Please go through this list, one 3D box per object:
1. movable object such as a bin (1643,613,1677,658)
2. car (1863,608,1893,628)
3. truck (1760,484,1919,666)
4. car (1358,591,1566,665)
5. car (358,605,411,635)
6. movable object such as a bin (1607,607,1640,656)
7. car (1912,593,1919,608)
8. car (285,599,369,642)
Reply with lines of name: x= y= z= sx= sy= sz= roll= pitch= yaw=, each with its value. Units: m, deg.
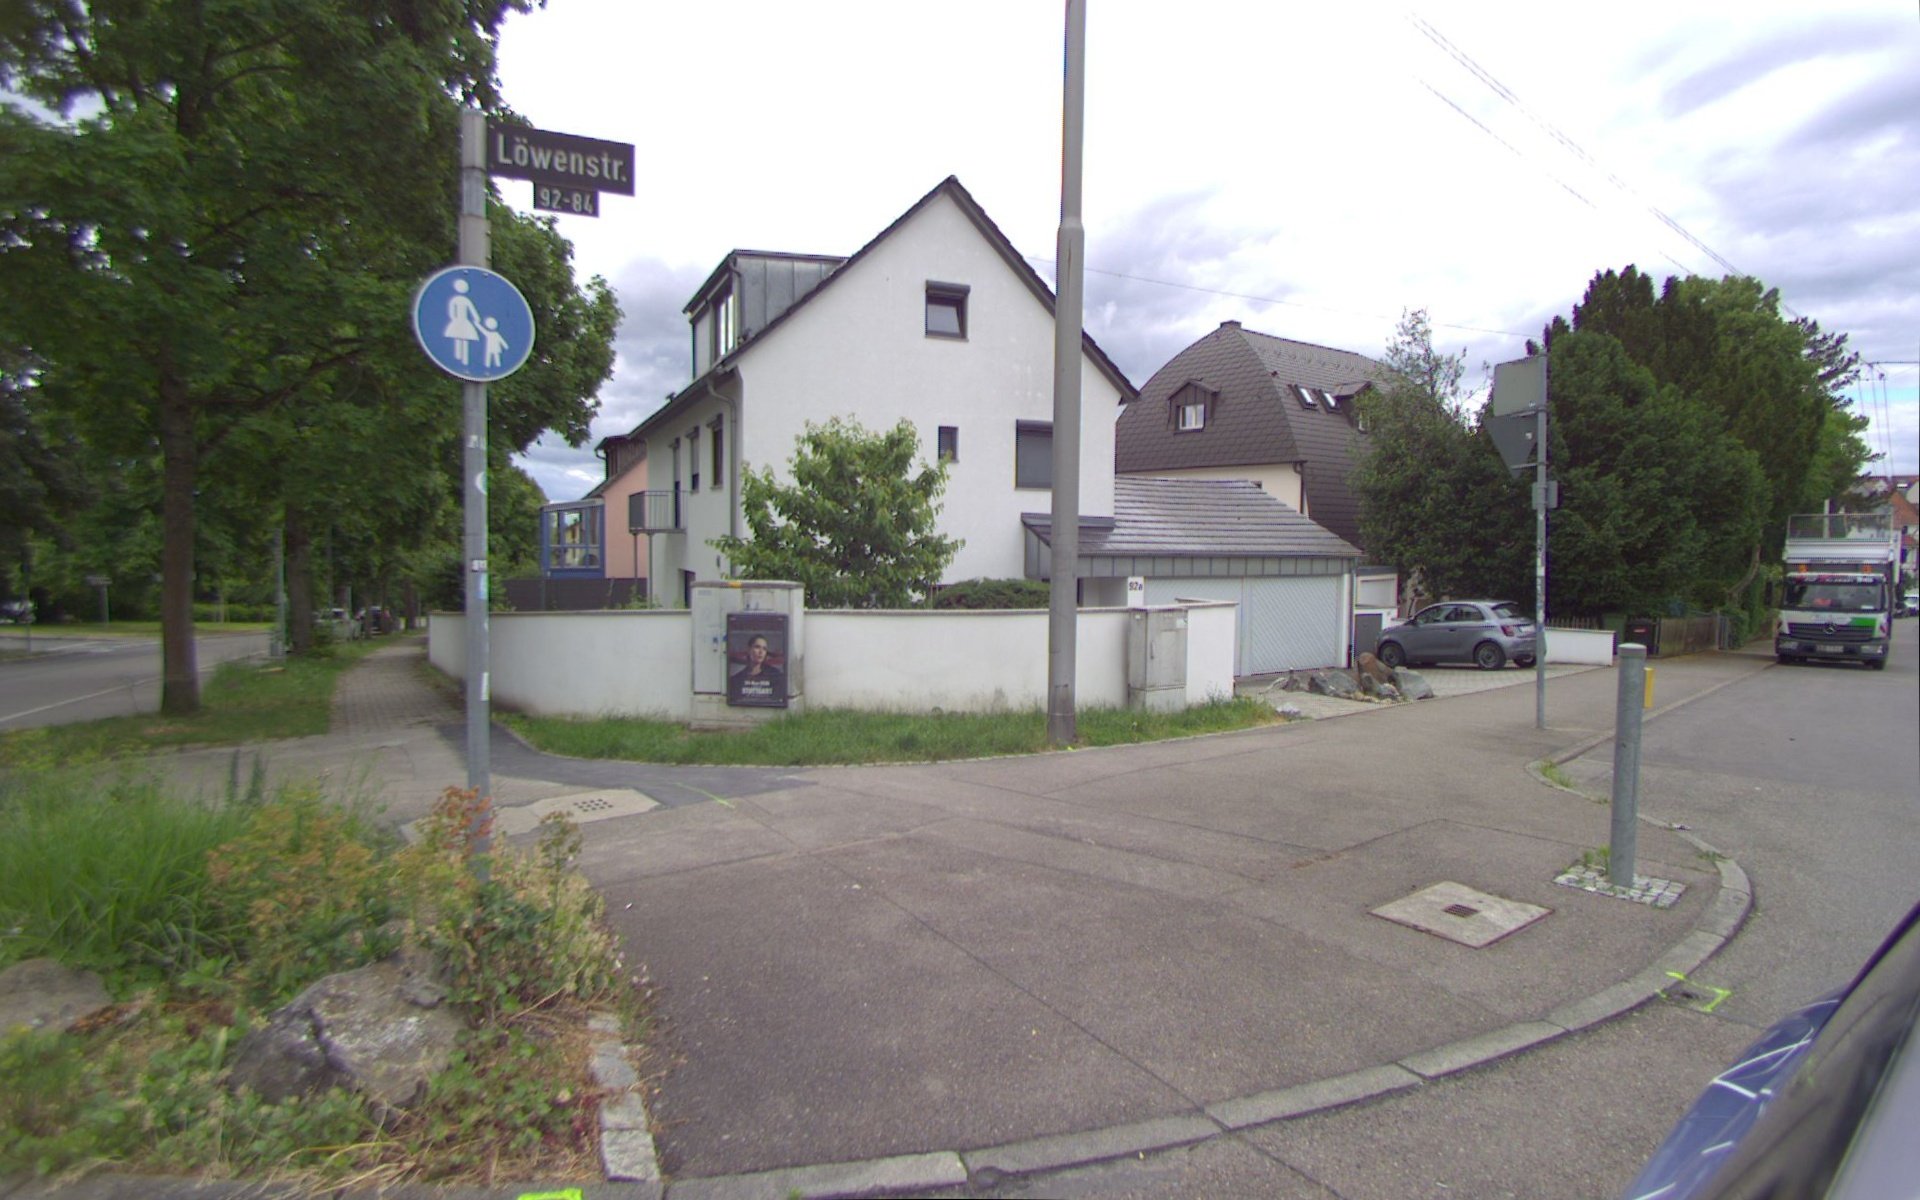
movable object such as a bin: x=17.831 y=0.904 z=25.770 sx=0.597 sy=1.119 sz=0.937 roll=-1 pitch=-3 yaw=41
car: x=81.541 y=1.574 z=89.912 sx=1.871 sy=1.571 sz=3.764 roll=3 pitch=2 yaw=44
truck: x=25.742 y=-0.698 z=29.569 sx=3.143 sy=4.607 sz=7.833 roll=3 pitch=2 yaw=41
car: x=11.189 y=0.648 z=22.794 sx=1.659 sy=1.516 sz=3.859 roll=0 pitch=-2 yaw=-32
car: x=-30.907 y=1.048 z=54.419 sx=1.723 sy=1.579 sz=3.853 roll=0 pitch=0 yaw=-18
movable object such as a bin: x=17.221 y=0.825 z=26.258 sx=0.597 sy=1.223 sz=0.937 roll=-1 pitch=-4 yaw=41
car: x=104.025 y=0.110 z=109.176 sx=1.871 sy=1.571 sz=3.764 roll=3 pitch=2 yaw=44
car: x=-26.371 y=0.842 z=42.289 sx=1.958 sy=1.571 sz=4.009 roll=1 pitch=1 yaw=-17
